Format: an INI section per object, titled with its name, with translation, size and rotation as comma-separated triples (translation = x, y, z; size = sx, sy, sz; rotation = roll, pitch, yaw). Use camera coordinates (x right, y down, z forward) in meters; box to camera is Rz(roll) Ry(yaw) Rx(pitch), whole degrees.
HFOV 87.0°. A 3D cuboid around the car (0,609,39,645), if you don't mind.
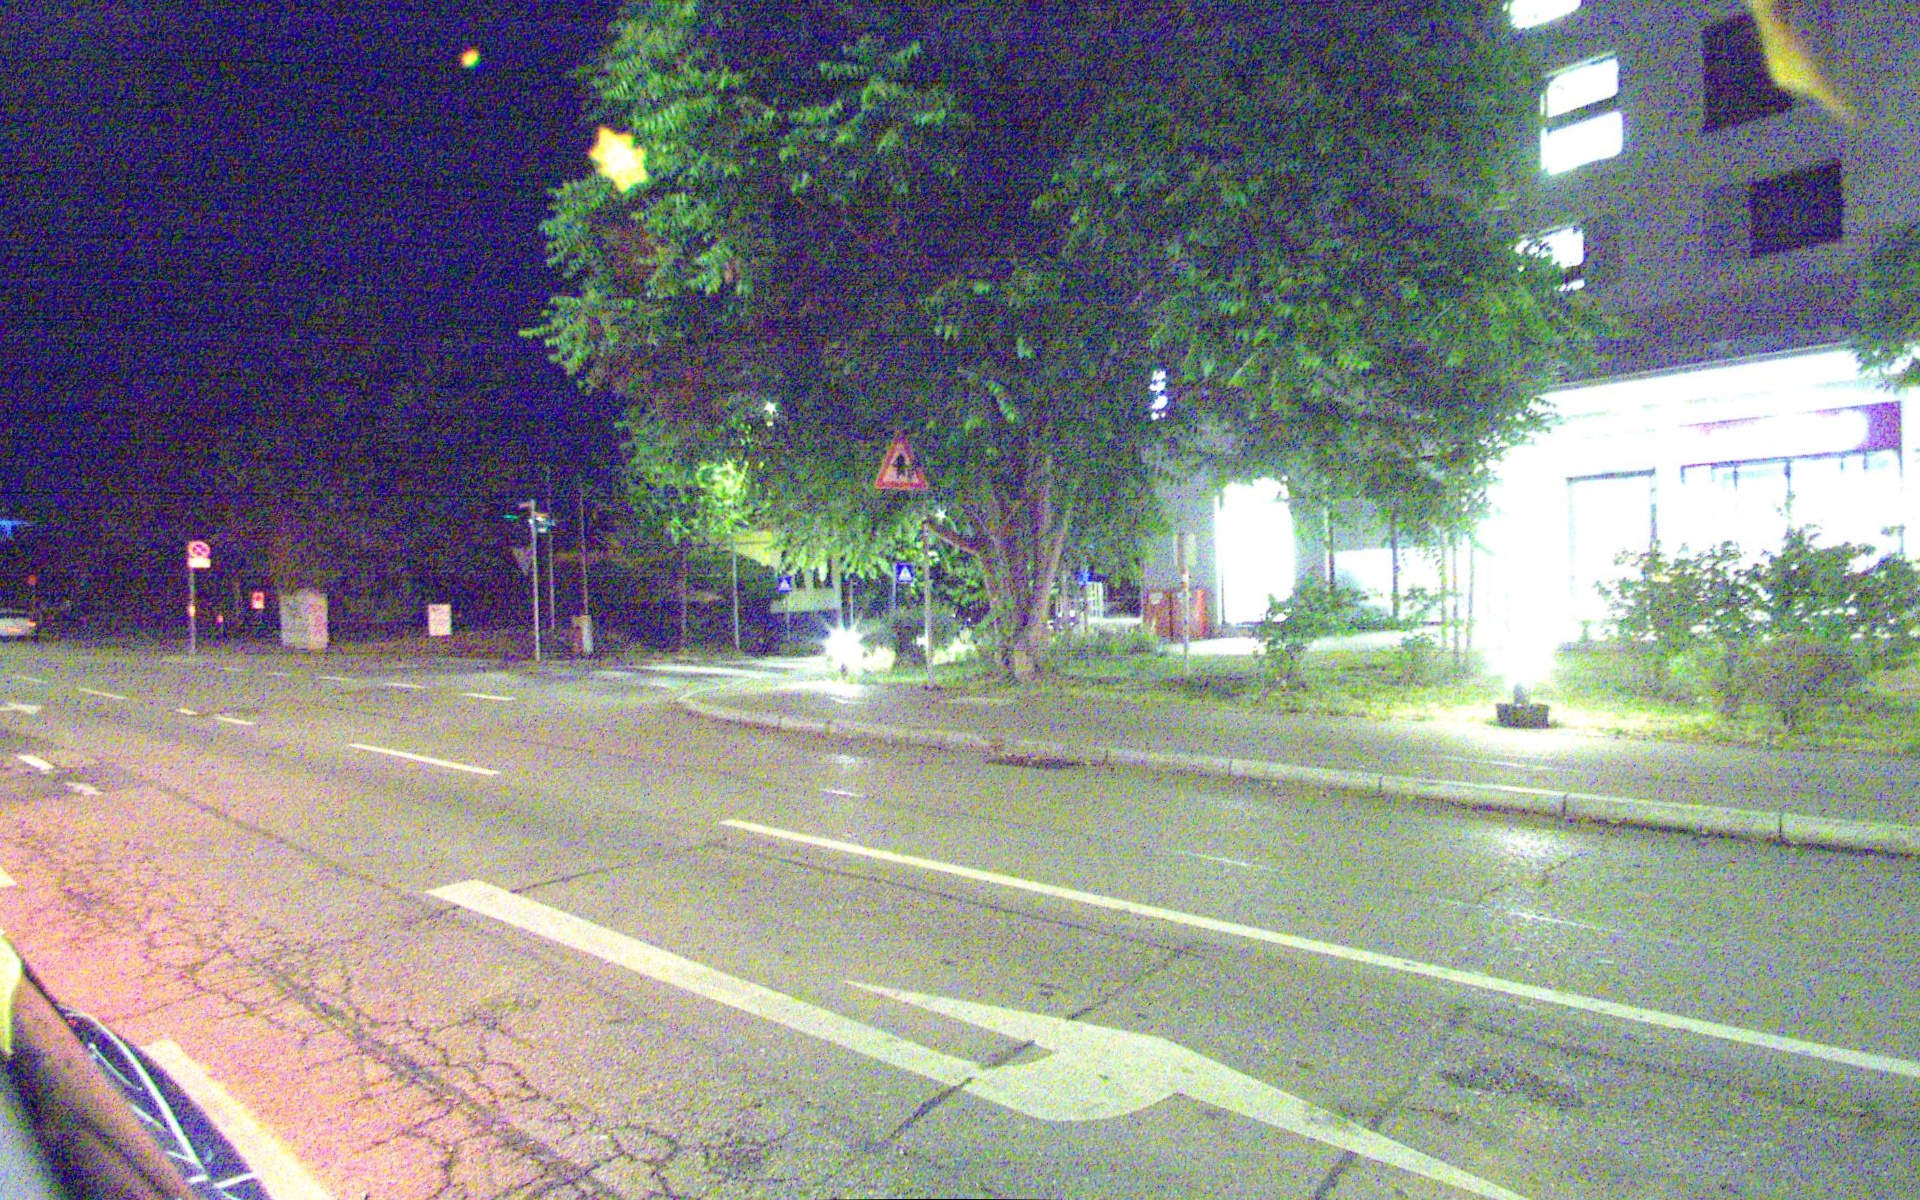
[car]
translation = -43.256, 1.187, 45.802
size = 3.998, 1.464, 1.887
rotation = 1, 2, 41
